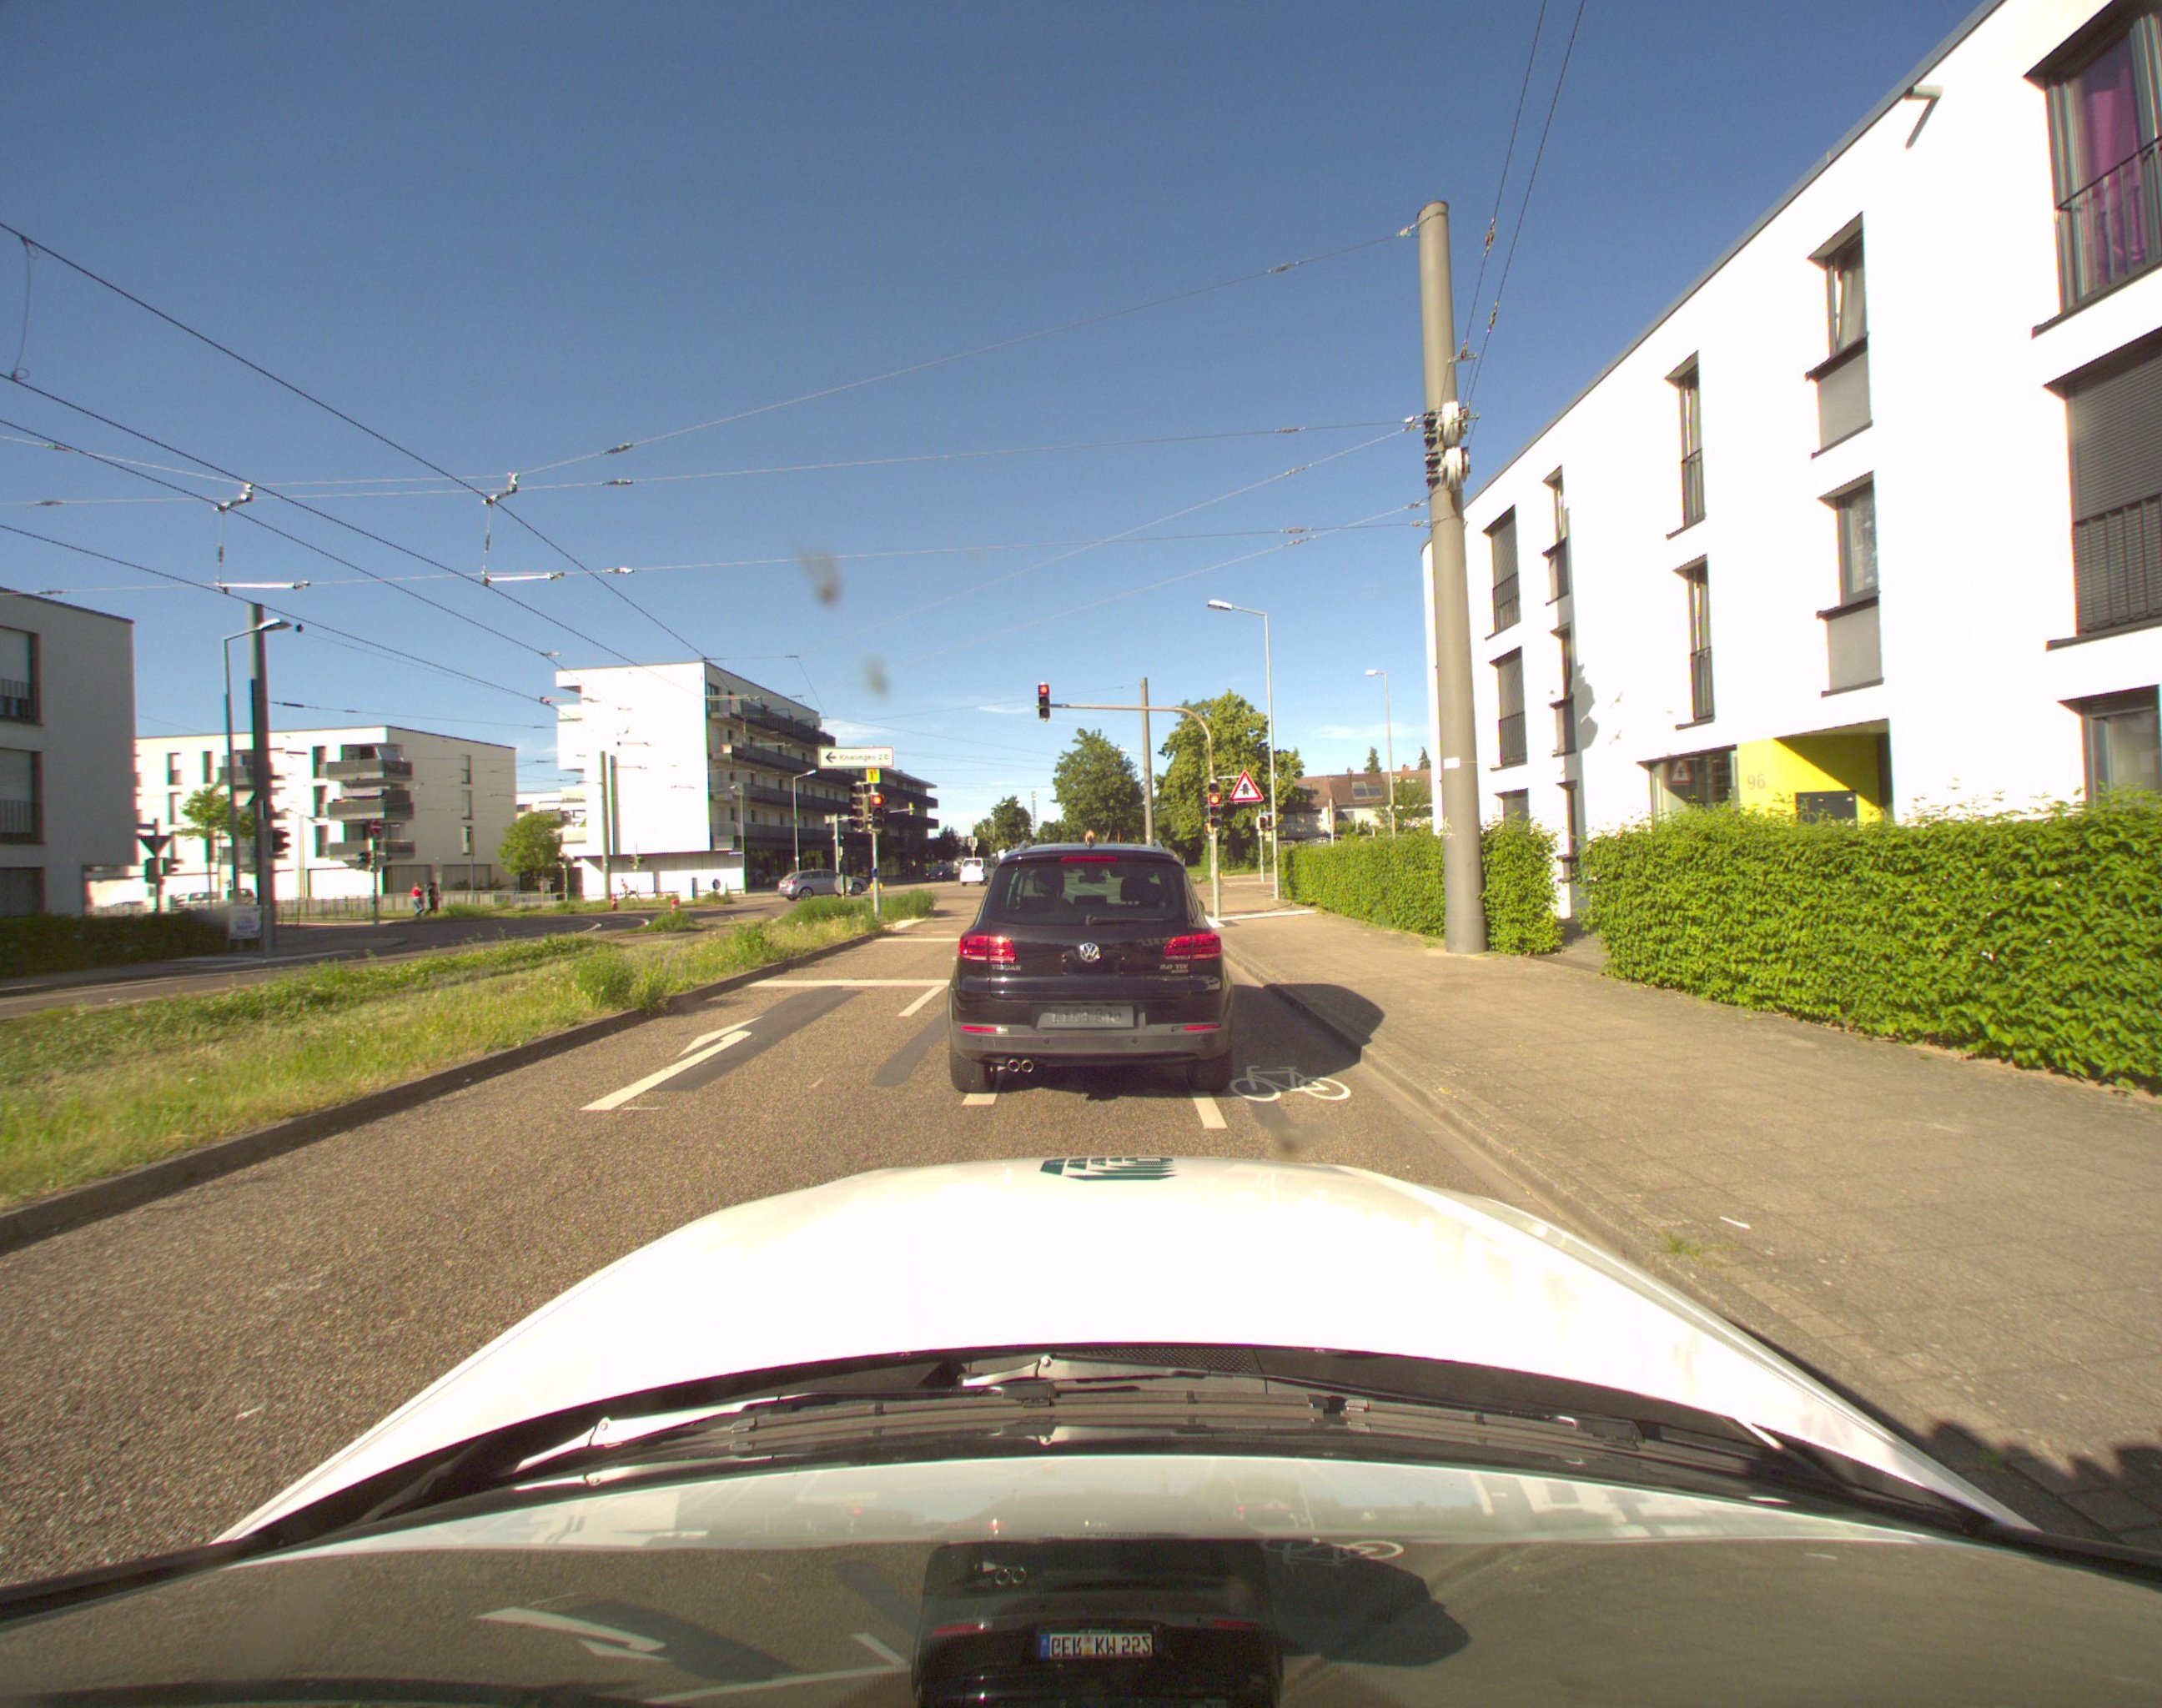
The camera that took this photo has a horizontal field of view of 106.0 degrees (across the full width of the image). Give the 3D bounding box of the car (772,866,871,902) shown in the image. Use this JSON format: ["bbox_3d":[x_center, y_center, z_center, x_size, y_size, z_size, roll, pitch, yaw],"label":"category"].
[{"bbox_3d":[-12.594,1.438,39.624,4.130,1.485,1.848,-2,-1,-38],"label":"car"}]

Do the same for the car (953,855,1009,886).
[{"bbox_3d":[-6.028,0.993,49.434,1.848,1.720,3.705,-2,0,20],"label":"car"}]

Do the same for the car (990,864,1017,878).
[{"bbox_3d":[-8.763,1.902,92.867,1.981,1.574,4.350,-1,-1,9],"label":"car"}]

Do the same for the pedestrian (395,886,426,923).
[{"bbox_3d":[-30.259,2.258,36.772,0.769,1.605,0.742,0,-1,-4],"label":"pedestrian"}]

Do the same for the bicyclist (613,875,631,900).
[{"bbox_3d":[-29.376,2.127,52.143,0.776,1.614,0.644,-1,-1,23],"label":"bicyclist"}]

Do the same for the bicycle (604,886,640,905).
[{"bbox_3d":[-29.375,2.659,52.163,0.812,1.124,1.871,-1,-1,23],"label":"bicycle"}]

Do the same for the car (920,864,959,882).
[{"bbox_3d":[-12.428,1.646,71.869,1.980,1.574,4.353,-1,-1,11],"label":"car"}]

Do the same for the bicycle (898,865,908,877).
[{"bbox_3d":[-20.023,1.919,91.640,0.627,1.332,1.914,0,-1,3],"label":"bicycle"}]

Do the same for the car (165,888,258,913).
[{"bbox_3d":[-58.890,3.158,55.205,4.305,1.574,2.002,0,-1,4],"label":"car"}]

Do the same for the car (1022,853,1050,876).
[{"bbox_3d":[-3.724,0.869,66.469,1.992,1.836,3.989,0,-1,-8],"label":"car"}]

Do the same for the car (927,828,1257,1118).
[{"bbox_3d":[0.125,0.693,6.625,1.862,1.637,4.001,0,-1,2],"label":"car"}]

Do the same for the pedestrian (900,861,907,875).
[{"bbox_3d":[-20.014,1.563,91.755,0.640,1.509,0.596,0,-1,2],"label":"pedestrian"}]

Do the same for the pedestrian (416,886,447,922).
[{"bbox_3d":[-29.318,2.251,36.768,0.769,1.605,0.742,0,-1,-4],"label":"pedestrian"}]

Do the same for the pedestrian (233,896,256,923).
[{"bbox_3d":[-54.250,3.602,52.826,0.810,1.692,0.621,-3,-1,2],"label":"pedestrian"}]

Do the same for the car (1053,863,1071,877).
[{"bbox_3d":[-2.245,1.879,96.244,1.987,1.684,4.000,0,-1,0],"label":"car"}]
